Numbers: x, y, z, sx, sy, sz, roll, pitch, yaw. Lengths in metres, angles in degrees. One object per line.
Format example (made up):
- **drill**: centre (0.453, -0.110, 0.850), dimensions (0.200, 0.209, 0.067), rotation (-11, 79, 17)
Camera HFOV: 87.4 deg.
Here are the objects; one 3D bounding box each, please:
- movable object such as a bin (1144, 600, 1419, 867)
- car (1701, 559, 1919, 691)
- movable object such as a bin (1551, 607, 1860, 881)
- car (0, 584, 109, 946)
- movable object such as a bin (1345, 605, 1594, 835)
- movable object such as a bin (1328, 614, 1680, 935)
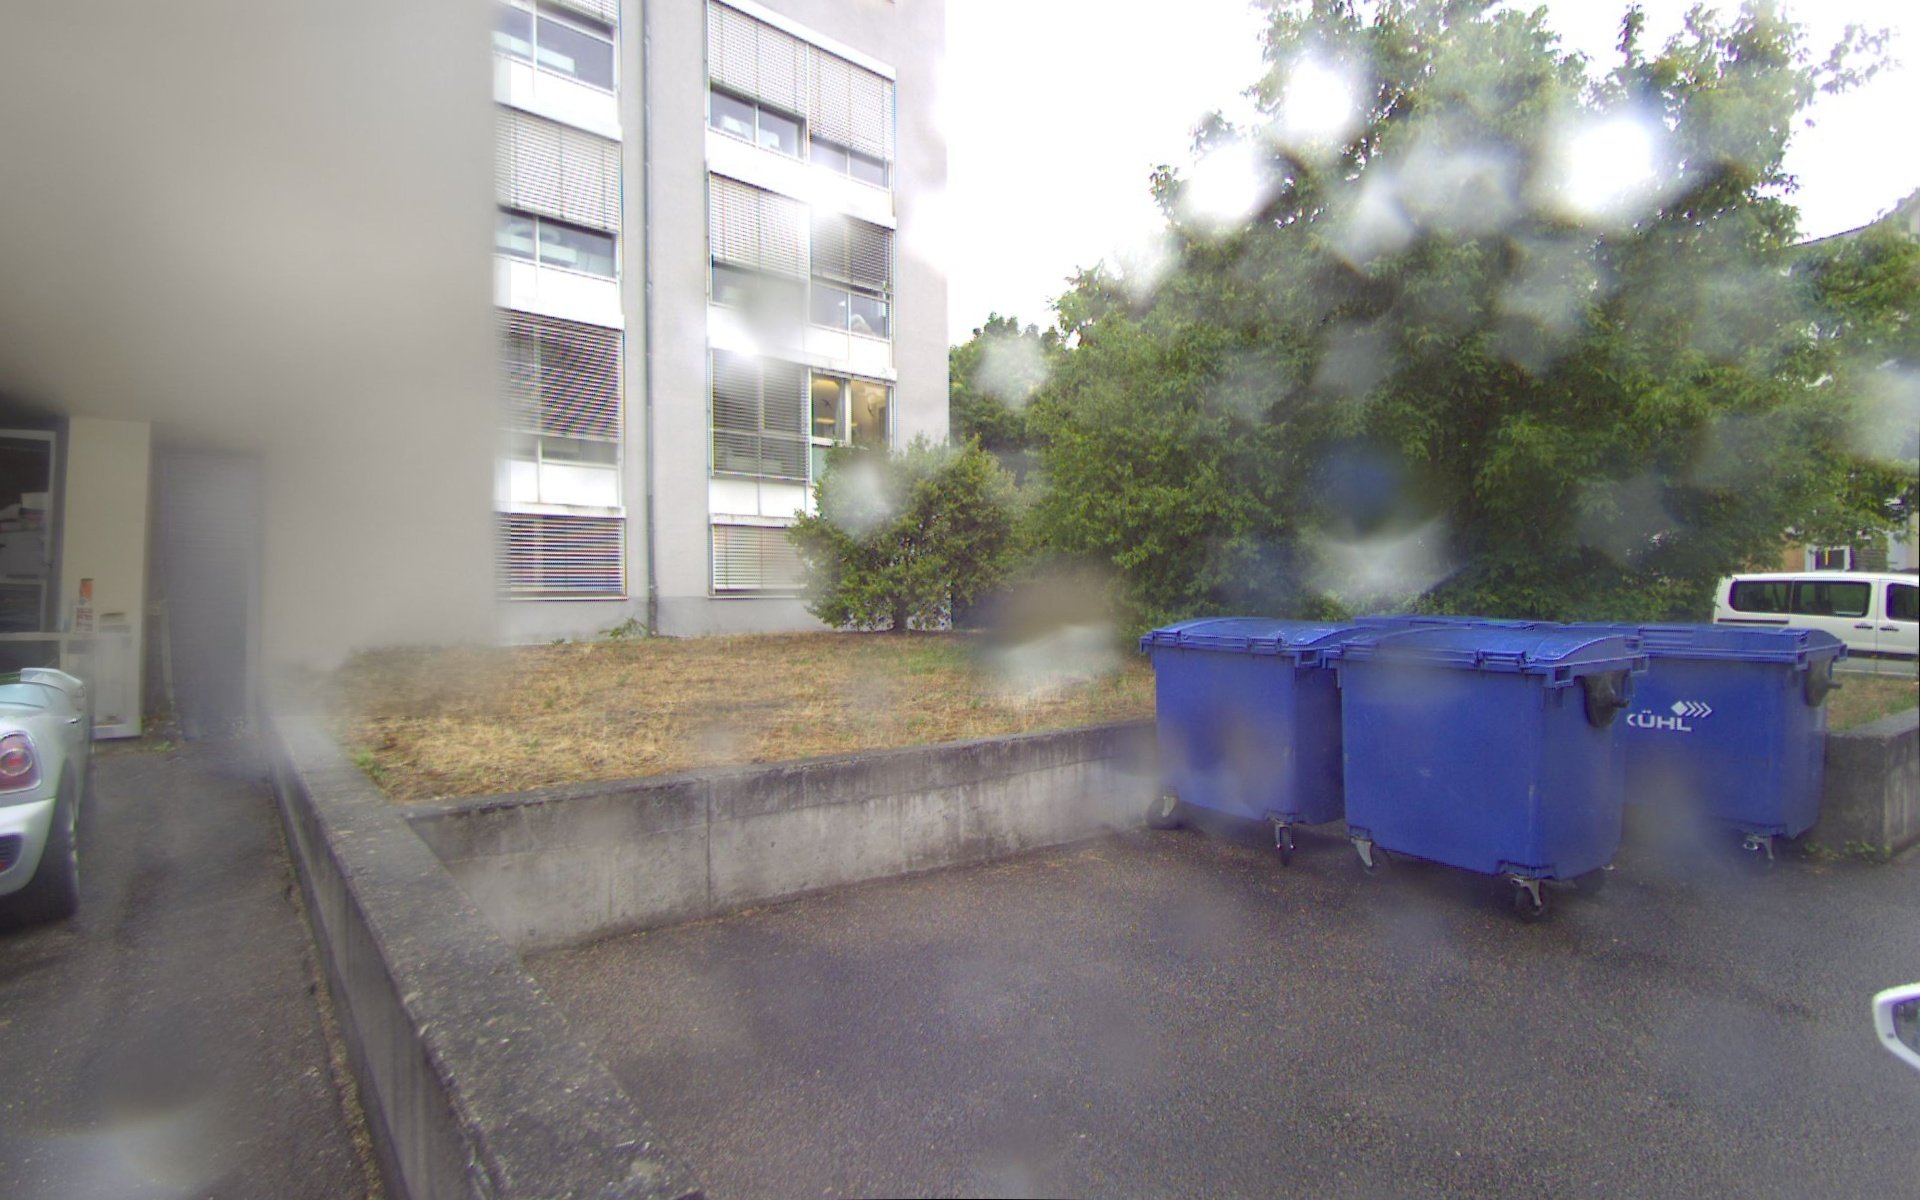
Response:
- **movable object such as a bin**: centre (1.953, 0.719, 6.182), dimensions (1.106, 1.355, 1.194), rotation (-3, 4, -36)
- **car**: centre (15.400, 0.378, 16.578), dimensions (1.980, 2.040, 4.749), rotation (-1, 0, -35)
- **movable object such as a bin**: centre (4.324, 0.737, 5.871), dimensions (0.997, 1.355, 1.213), rotation (-1, 1, -36)
- **car**: centre (-5.782, 0.682, 5.365), dimensions (1.807, 1.351, 4.130), rotation (-2, 4, -40)
- **movable object such as a bin**: centre (3.461, 0.732, 6.870), dimensions (0.997, 1.355, 1.213), rotation (-2, 2, -36)
- **movable object such as a bin**: centre (2.738, 0.763, 5.129), dimensions (1.104, 1.355, 1.196), rotation (0, 1, -32)
